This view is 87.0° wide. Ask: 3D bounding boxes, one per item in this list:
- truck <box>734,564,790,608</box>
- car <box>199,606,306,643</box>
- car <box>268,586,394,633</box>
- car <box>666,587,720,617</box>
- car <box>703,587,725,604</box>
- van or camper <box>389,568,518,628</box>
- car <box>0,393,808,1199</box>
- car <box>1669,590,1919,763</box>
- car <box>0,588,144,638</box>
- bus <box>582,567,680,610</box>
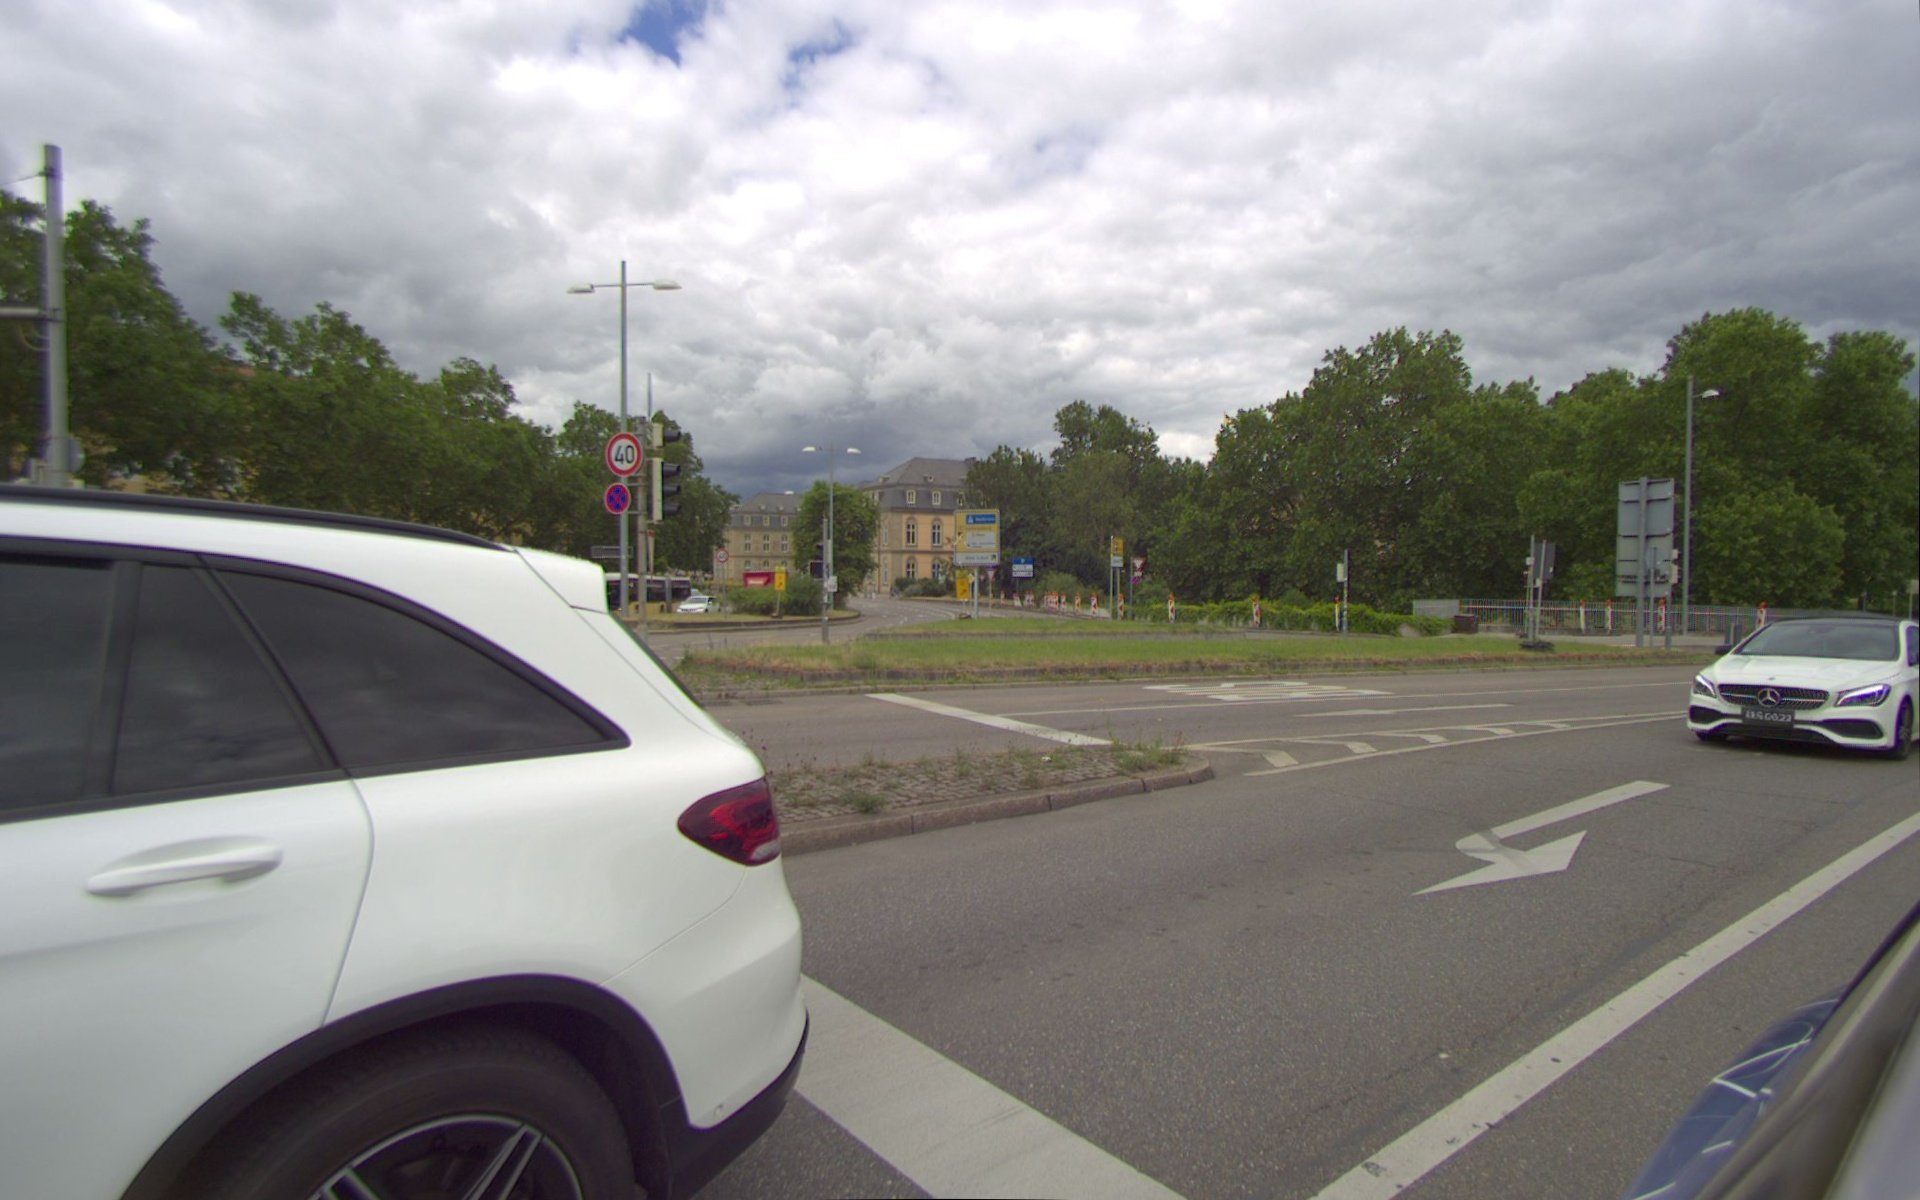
[{"bbox_3d":[-16.993,-1.199,87.358,2.741,3.533,8.343,0,1,3],"label":"truck"},{"bbox_3d":[-26.205,0.887,37.602,1.594,1.251,3.235,0,1,5],"label":"car"},{"bbox_3d":[-20.348,0.277,32.921,1.708,1.417,3.710,0,1,2],"label":"car"},{"bbox_3d":[-16.070,0.085,61.113,1.964,1.776,3.956,0,1,4],"label":"car"},{"bbox_3d":[-29.103,-0.550,119.723,1.960,2.039,4.005,0,1,-6],"label":"car"},{"bbox_3d":[-17.349,-0.098,34.953,1.832,1.940,4.709,0,1,4],"label":"van or camper"},{"bbox_3d":[-2.492,0.565,1.291,4.258,1.667,1.805,0,1,-41],"label":"car"},{"bbox_3d":[10.050,0.712,11.457,4.563,1.589,1.872,0,0,-35],"label":"car"},{"bbox_3d":[-26.553,0.350,30.138,1.586,1.372,3.483,0,1,3],"label":"car"},{"bbox_3d":[-26.208,-0.944,81.635,3.372,3.244,13.058,0,1,2],"label":"bus"}]
